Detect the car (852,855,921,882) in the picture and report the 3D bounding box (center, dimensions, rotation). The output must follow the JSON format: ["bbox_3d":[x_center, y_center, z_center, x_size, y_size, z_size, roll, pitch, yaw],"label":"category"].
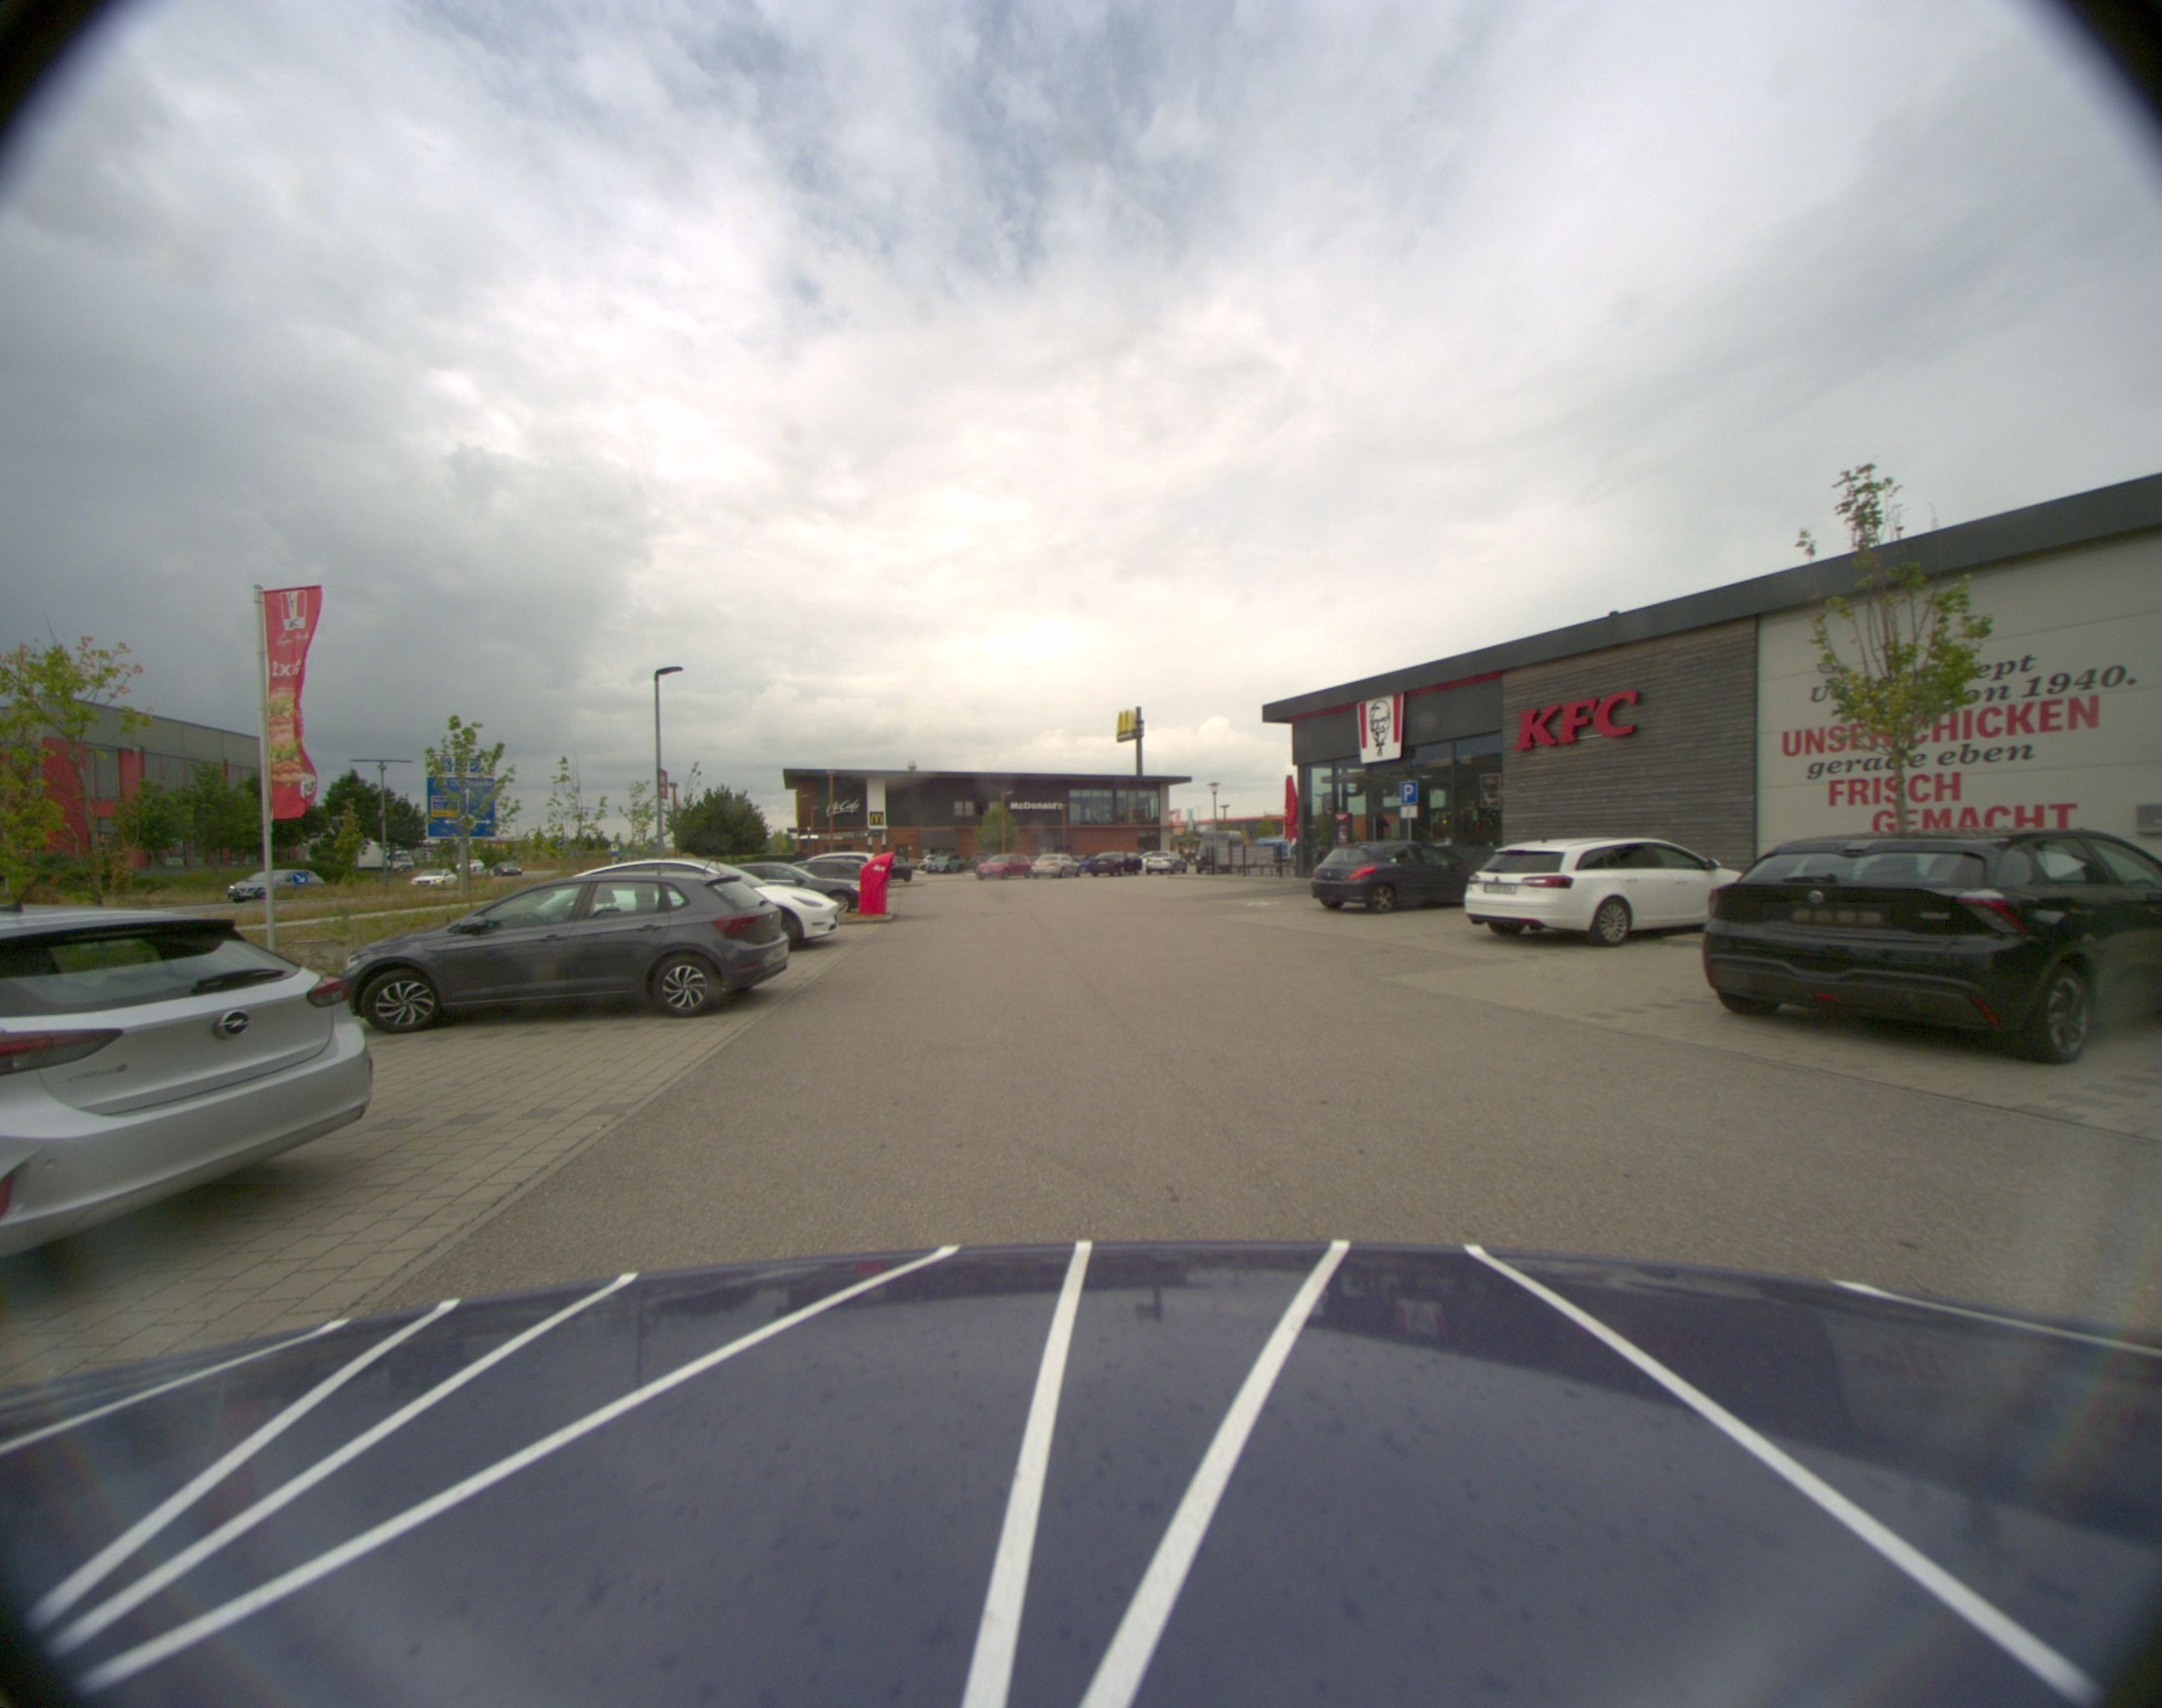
[{"bbox_3d":[-10.586,0.772,41.635,1.683,1.403,3.936,-1,0,19],"label":"car"}]

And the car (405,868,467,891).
[{"bbox_3d":[-45.251,1.758,53.402,1.756,1.482,4.124,-1,-1,-17],"label":"car"}]

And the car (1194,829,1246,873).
[{"bbox_3d":[8.863,-0.152,47.954,2.069,2.538,7.023,-1,0,19],"label":"car"}]

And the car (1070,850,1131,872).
[{"bbox_3d":[1.378,0.509,54.561,3.990,1.501,1.772,1,1,24],"label":"car"}]

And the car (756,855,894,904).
[{"bbox_3d":[-9.170,0.873,27.544,4.519,1.458,1.945,-3,1,-16],"label":"car"}]

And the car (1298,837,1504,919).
[{"bbox_3d":[6.981,0.472,16.633,3.943,1.478,1.756,-3,1,-19],"label":"car"}]

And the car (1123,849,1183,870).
[{"bbox_3d":[5.381,0.432,56.585,4.102,1.458,1.783,-1,-2,20],"label":"car"}]

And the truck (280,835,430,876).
[{"bbox_3d":[-81.927,0.198,86.108,12.003,4.473,3.762,0,1,-13],"label":"truck"}]

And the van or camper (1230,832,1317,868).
[{"bbox_3d":[15.927,-0.309,63.051,6.557,2.684,2.176,-2,-1,28],"label":"van or camper"}]

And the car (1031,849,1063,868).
[{"bbox_3d":[-3.229,0.433,72.107,1.755,1.743,3.992,0,0,-22],"label":"car"}]

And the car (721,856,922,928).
[{"bbox_3d":[-6.723,0.934,20.105,4.745,1.448,1.908,-3,2,-16],"label":"car"}]

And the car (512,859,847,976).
[{"bbox_3d":[-6.486,0.966,12.827,4.546,1.532,1.924,-3,1,-10],"label":"car"}]

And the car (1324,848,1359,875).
[{"bbox_3d":[17.695,0.495,51.815,1.996,1.718,4.903,0,0,16],"label":"car"}]

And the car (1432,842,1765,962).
[{"bbox_3d":[7.660,0.601,11.319,4.183,1.477,1.997,-1,1,-19],"label":"car"}]

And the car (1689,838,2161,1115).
[{"bbox_3d":[7.010,0.679,5.857,4.127,1.519,1.738,-2,1,-20],"label":"car"}]

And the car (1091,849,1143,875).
[{"bbox_3d":[2.231,0.470,45.864,1.683,1.454,4.414,-1,0,22],"label":"car"}]

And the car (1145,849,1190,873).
[{"bbox_3d":[5.501,0.440,47.757,1.683,1.443,4.007,-1,0,24],"label":"car"}]

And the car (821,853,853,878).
[{"bbox_3d":[-17.864,0.816,55.509,1.813,1.680,4.182,0,0,-23],"label":"car"}]

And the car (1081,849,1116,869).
[{"bbox_3d":[1.626,0.410,68.905,1.894,1.653,4.263,1,3,20],"label":"car"}]

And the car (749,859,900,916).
[{"bbox_3d":[-7.633,0.952,22.917,4.073,1.404,1.886,-3,1,-16],"label":"car"}]

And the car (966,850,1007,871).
[{"bbox_3d":[-8.037,0.577,65.052,1.996,1.739,4.006,1,-1,16],"label":"car"}]

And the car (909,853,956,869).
[{"bbox_3d":[-13.920,0.640,71.203,4.004,1.497,1.785,0,1,-21],"label":"car"}]

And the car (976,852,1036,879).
[{"bbox_3d":[-4.265,0.632,43.744,1.683,1.455,4.007,-1,0,24],"label":"car"}]

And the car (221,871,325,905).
[{"bbox_3d":[-39.180,1.602,36.974,1.756,1.482,4.124,-1,-1,-19],"label":"car"}]

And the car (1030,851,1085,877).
[{"bbox_3d":[-1.307,0.569,44.434,1.750,1.403,4.466,-1,0,19],"label":"car"}]

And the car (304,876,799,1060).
[{"bbox_3d":[-5.185,1.063,7.965,3.808,1.404,1.737,-3,1,-8],"label":"car"}]

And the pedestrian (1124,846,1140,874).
[{"bbox_3d":[3.074,0.341,45.919,0.747,1.668,0.844,0,1,22],"label":"pedestrian"}]

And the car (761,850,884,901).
[{"bbox_3d":[-10.149,0.808,30.136,4.375,1.703,1.989,-3,1,-16],"label":"car"}]

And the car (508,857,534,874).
[{"bbox_3d":[-60.125,1.184,81.563,2.004,1.696,3.988,-1,2,-40],"label":"car"}]

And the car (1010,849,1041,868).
[{"bbox_3d":[-5.221,0.421,71.143,1.755,1.743,3.992,0,0,-22],"label":"car"}]

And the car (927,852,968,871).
[{"bbox_3d":[-11.235,0.617,64.265,1.746,1.575,3.911,1,0,20],"label":"car"}]

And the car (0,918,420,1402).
[{"bbox_3d":[-5.510,1.146,3.034,3.938,1.404,1.839,-3,1,-4],"label":"car"}]
